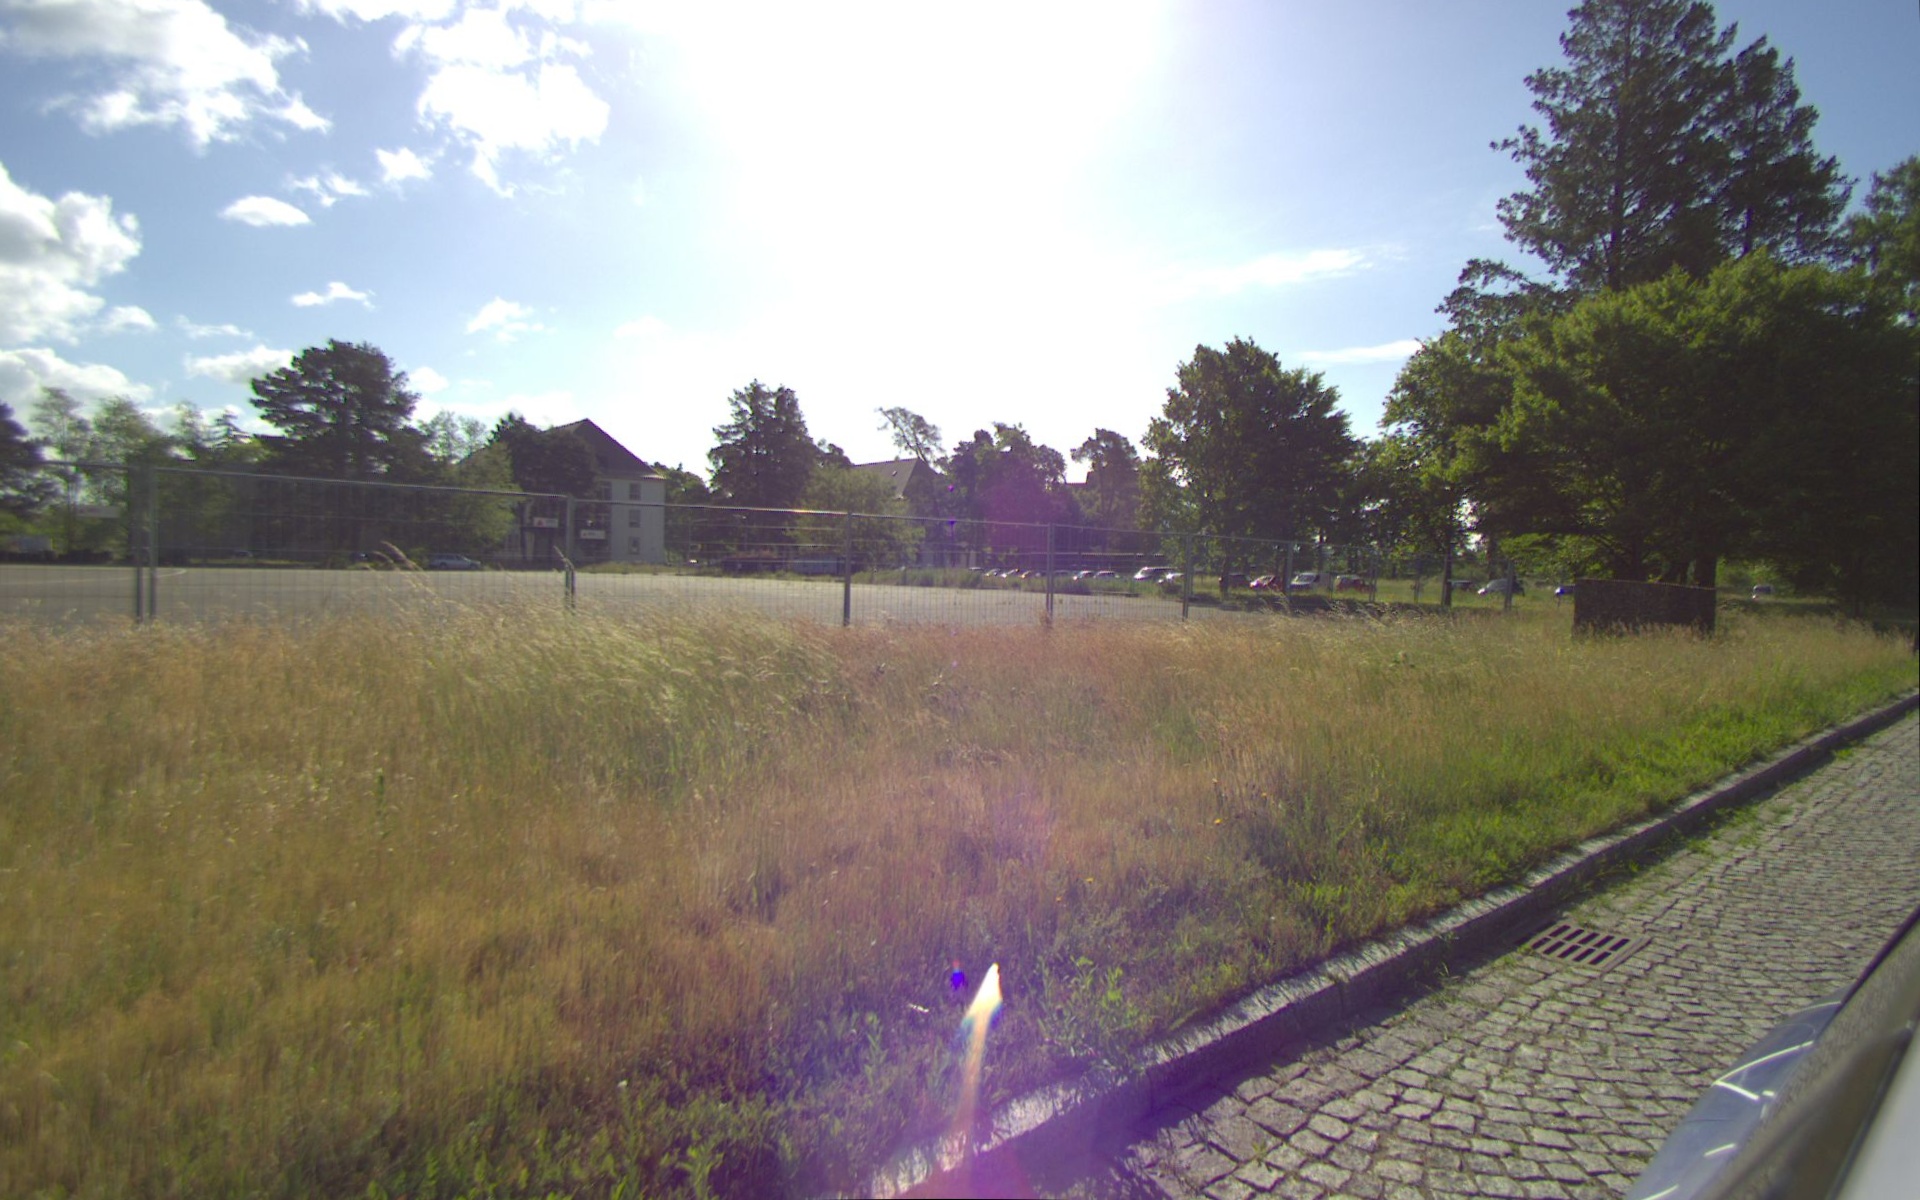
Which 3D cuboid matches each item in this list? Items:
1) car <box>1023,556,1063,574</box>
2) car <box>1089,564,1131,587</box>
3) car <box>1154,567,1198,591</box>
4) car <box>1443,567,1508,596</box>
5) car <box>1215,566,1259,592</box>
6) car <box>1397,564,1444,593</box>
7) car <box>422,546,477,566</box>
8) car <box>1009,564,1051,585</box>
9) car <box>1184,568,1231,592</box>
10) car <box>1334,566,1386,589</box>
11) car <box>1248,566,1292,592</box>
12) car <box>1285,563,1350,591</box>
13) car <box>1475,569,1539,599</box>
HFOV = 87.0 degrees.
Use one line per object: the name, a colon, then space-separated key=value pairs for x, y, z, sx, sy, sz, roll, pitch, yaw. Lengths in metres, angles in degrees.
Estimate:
car: x=8.179 y=-3.419 z=99.586 sx=3.782 sy=1.678 sz=1.742 roll=0 pitch=3 yaw=-39
car: x=13.810 y=-2.217 z=93.191 sx=3.782 sy=2.038 sz=1.742 roll=0 pitch=3 yaw=-39
car: x=18.554 y=-1.791 z=87.034 sx=3.785 sy=2.038 sz=1.740 roll=-1 pitch=3 yaw=-41
car: x=35.086 y=-1.283 z=68.840 sx=4.268 sy=1.861 sz=2.247 roll=0 pitch=3 yaw=-37
car: x=22.571 y=-1.702 z=82.305 sx=3.557 sy=2.038 sz=1.740 roll=-1 pitch=3 yaw=-41
car: x=32.790 y=-1.526 z=72.022 sx=3.557 sy=2.038 sz=1.740 roll=-1 pitch=3 yaw=-41
car: x=-45.038 y=-3.870 z=89.347 sx=3.935 sy=1.601 sz=1.995 roll=-1 pitch=3 yaw=-45
car: x=7.092 y=-2.560 z=101.965 sx=3.931 sy=2.038 sz=1.997 roll=0 pitch=2 yaw=-42
car: x=21.059 y=-1.700 z=86.191 sx=3.932 sy=2.038 sz=1.997 roll=-1 pitch=2 yaw=-42
car: x=29.493 y=-1.658 z=74.606 sx=3.931 sy=1.672 sz=1.997 roll=-1 pitch=3 yaw=-41
car: x=24.611 y=-1.670 z=80.364 sx=3.557 sy=2.038 sz=1.740 roll=-1 pitch=3 yaw=-41
car: x=27.592 y=-1.807 z=77.956 sx=5.929 sy=2.038 sz=1.997 roll=-2 pitch=2 yaw=-40
car: x=35.986 y=-1.038 z=66.503 sx=4.272 sy=1.861 sz=2.245 roll=0 pitch=3 yaw=-40
